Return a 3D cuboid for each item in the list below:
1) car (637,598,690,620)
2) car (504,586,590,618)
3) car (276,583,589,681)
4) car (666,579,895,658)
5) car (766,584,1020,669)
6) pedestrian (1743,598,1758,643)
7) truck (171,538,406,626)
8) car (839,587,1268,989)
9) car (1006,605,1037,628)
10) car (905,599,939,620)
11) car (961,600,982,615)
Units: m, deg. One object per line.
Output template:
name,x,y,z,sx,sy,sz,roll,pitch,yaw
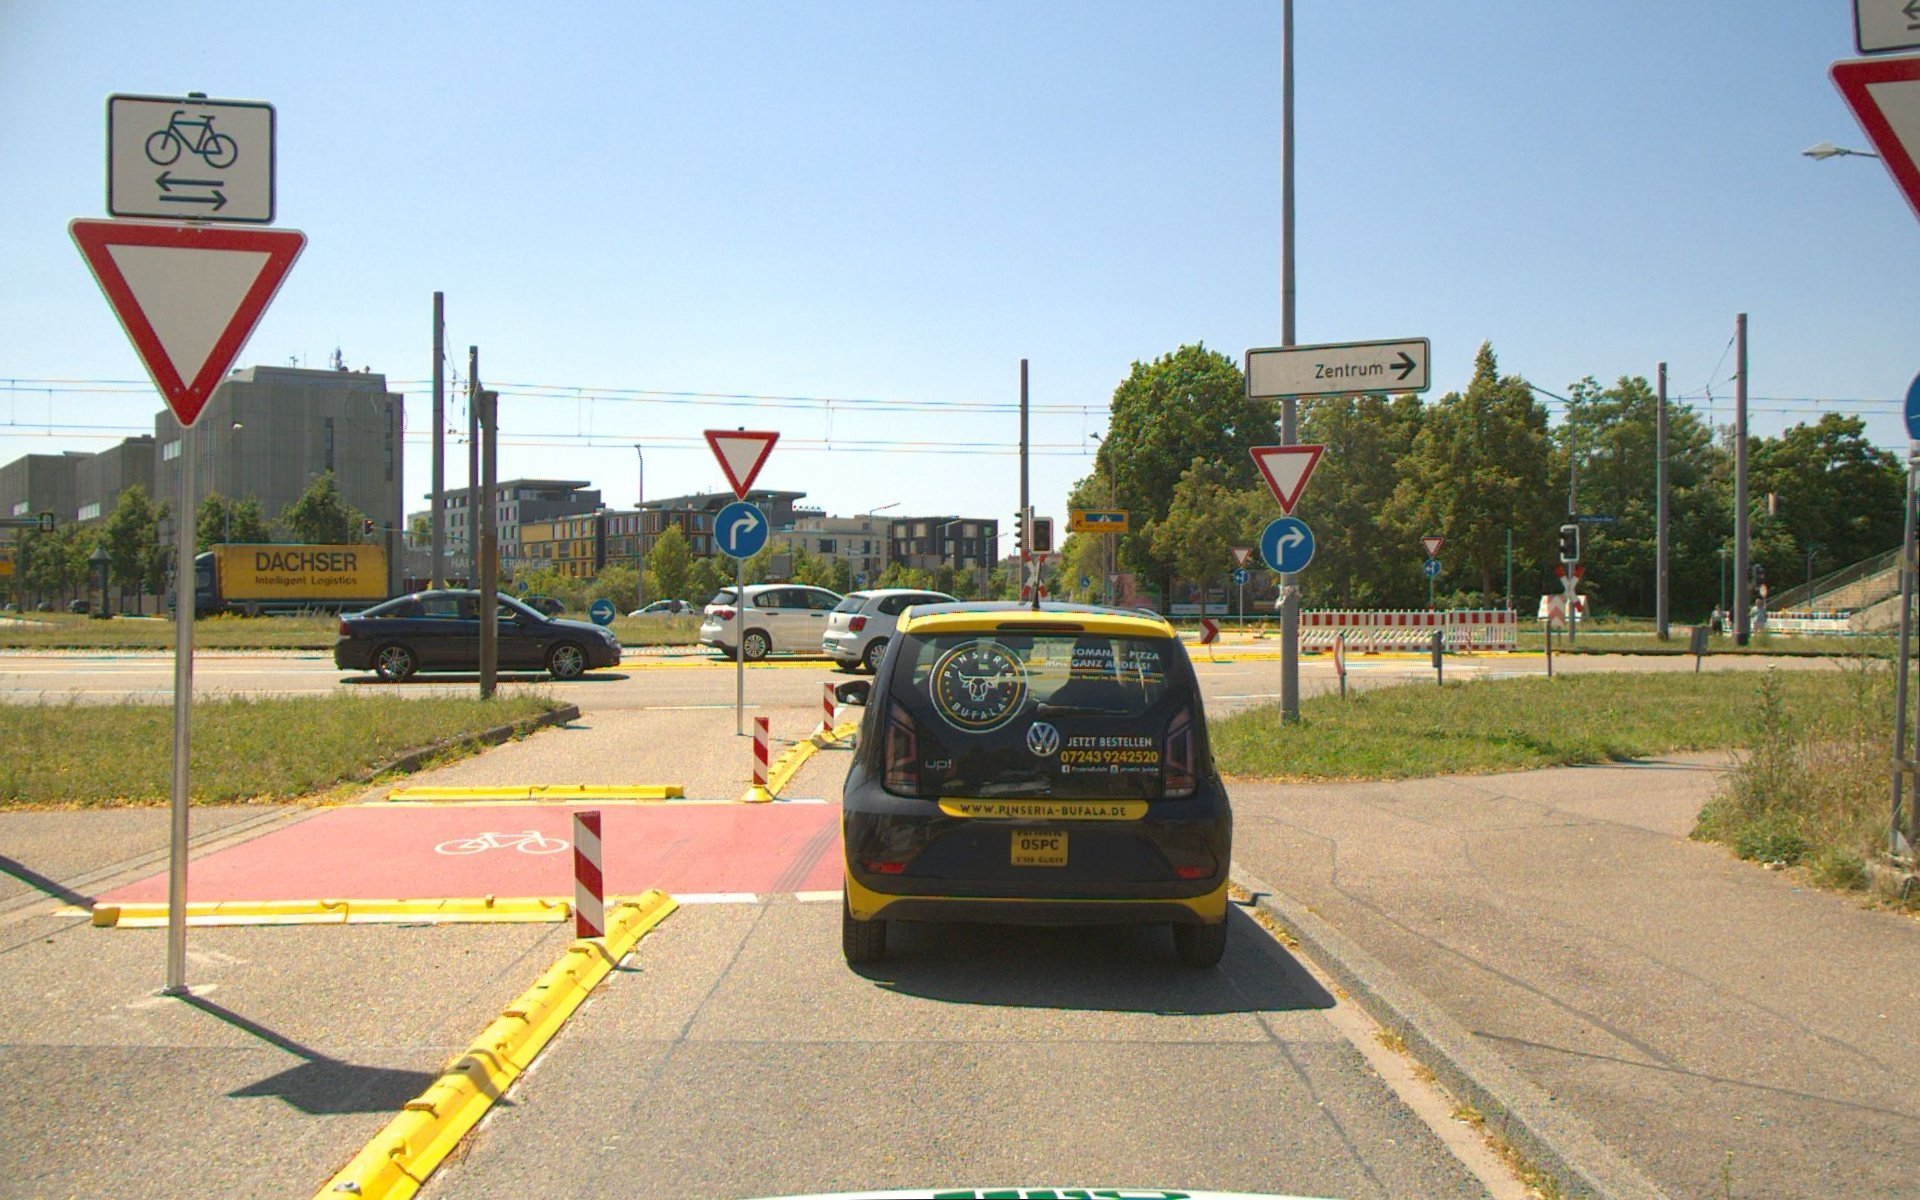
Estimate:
car,-16.129,0.505,89.932,2.835,1.175,1.201,0,0,-12
car,-19.890,0.106,79.639,3.971,1.487,1.722,0,0,-17
car,-8.521,0.491,27.129,4.658,1.474,1.995,-1,0,-11
car,-3.672,0.350,33.748,4.293,1.512,1.986,0,0,-23
car,-1.217,0.485,30.208,4.281,1.474,1.842,1,0,-25
pedestrian,31.067,0.803,64.988,0.438,1.769,0.318,0,0,10
truck,-30.118,-0.781,74.568,9.522,3.723,2.669,0,0,-40
car,0.308,0.704,8.174,1.586,1.477,3.985,1,0,-1
car,3.769,0.993,100.980,1.623,1.396,3.034,0,0,8
car,-2.554,0.631,111.771,1.730,1.368,3.324,0,0,8
car,0.925,0.590,129.504,1.461,1.109,3.522,0,0,4
